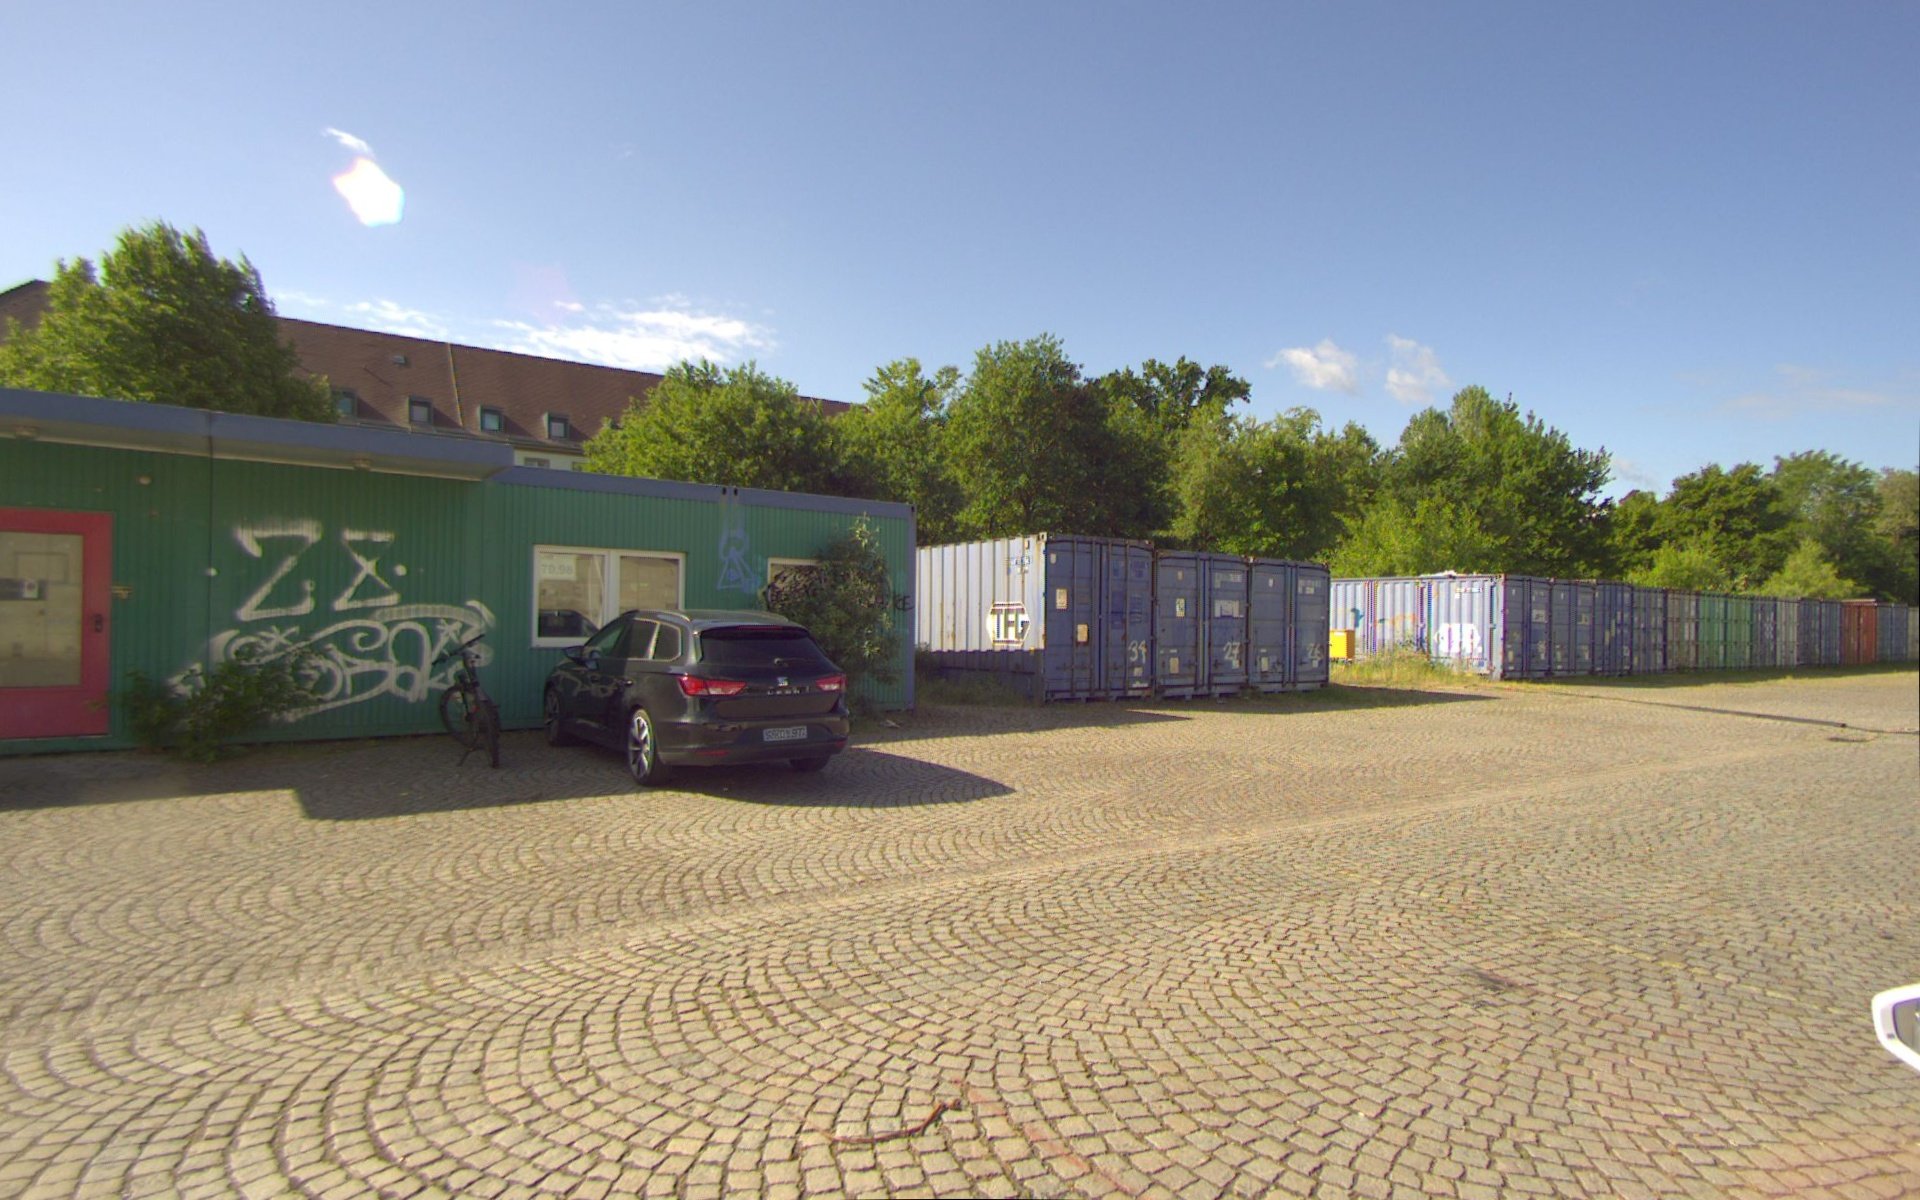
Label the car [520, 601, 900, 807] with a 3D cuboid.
[{"bbox_3d":[-2.606,0.782,9.606,1.982,1.484,4.382,1,-1,-37],"label":"car"}]

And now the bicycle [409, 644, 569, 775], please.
[{"bbox_3d":[-4.481,0.965,9.482,1.029,1.041,1.862,1,-1,-36],"label":"bicycle"}]
